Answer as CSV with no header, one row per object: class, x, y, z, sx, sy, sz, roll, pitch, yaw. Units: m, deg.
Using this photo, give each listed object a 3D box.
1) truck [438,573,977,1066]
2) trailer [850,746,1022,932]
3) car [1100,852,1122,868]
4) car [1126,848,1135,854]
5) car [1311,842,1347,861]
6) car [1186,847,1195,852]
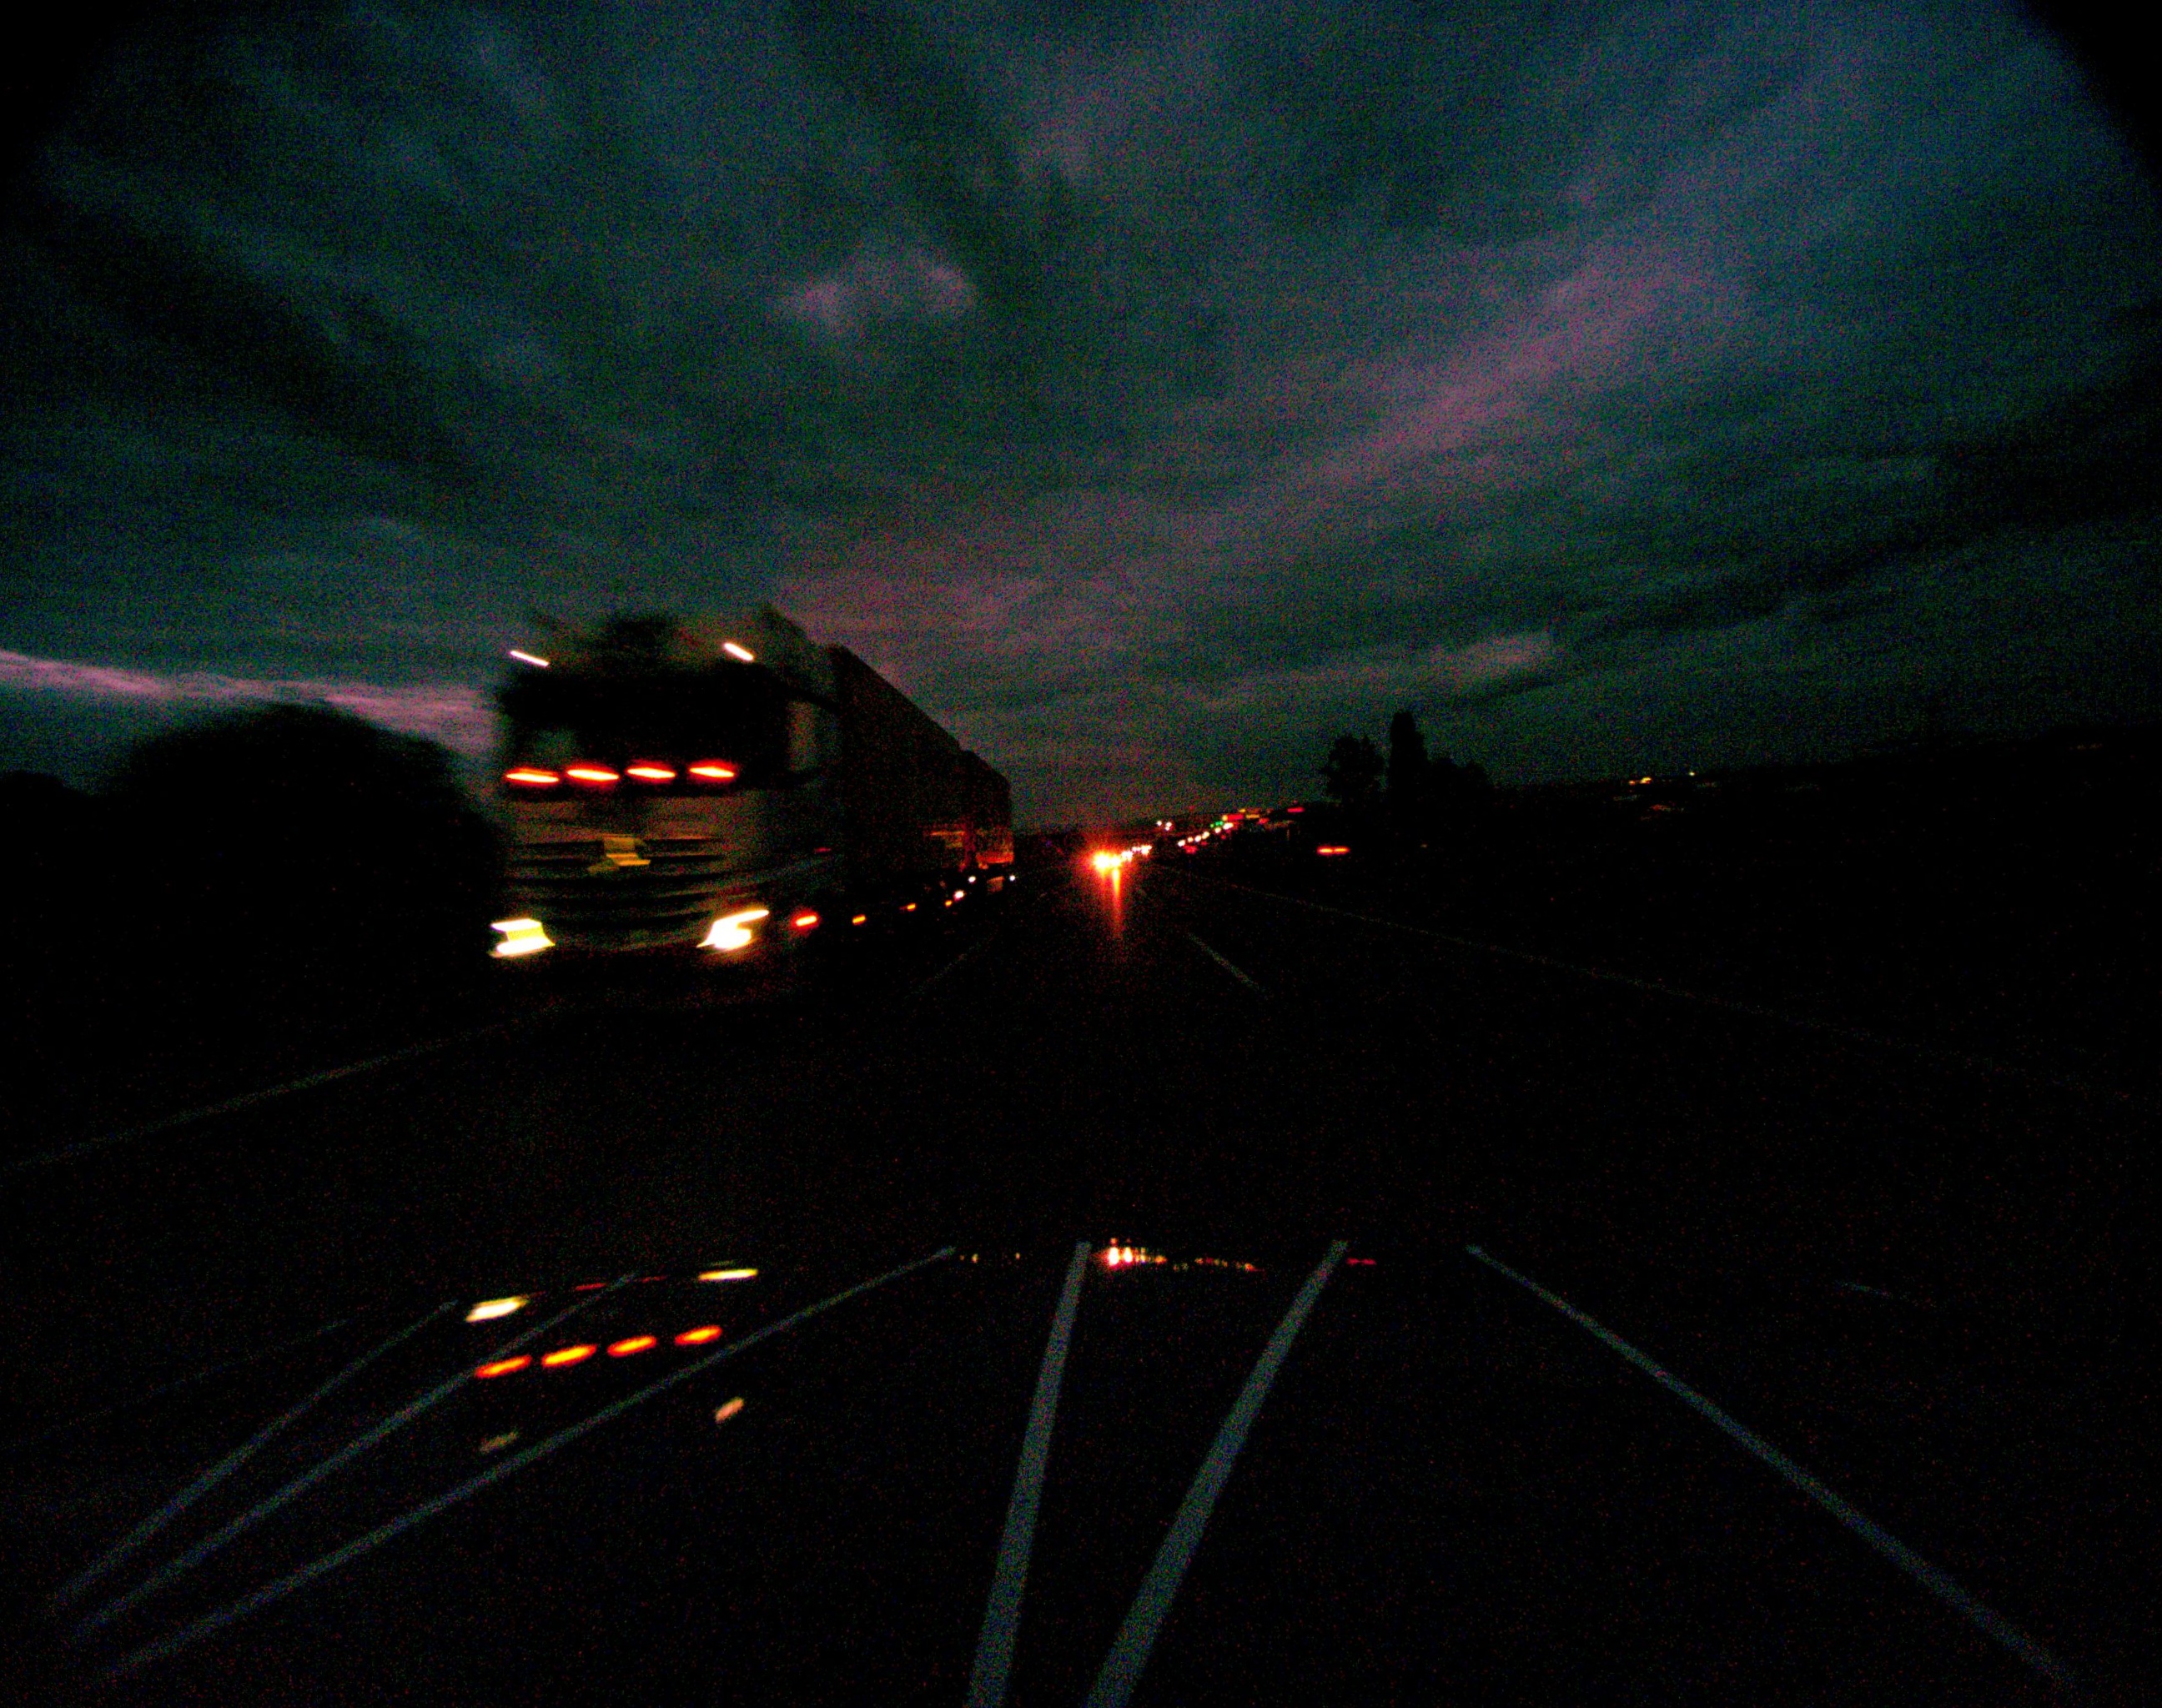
truck,-3.852,-0.299,11.635,2.697,4.047,10.520,-2,0,1
trailer,-3.570,-0.354,21.357,2.728,4.047,8.831,-2,0,2
car,2.937,0.562,74.101,1.998,1.342,4.174,0,2,3
car,12.713,-0.754,195.094,1.998,1.342,4.176,-5,1,6
car,22.581,-0.275,69.444,1.998,1.615,4.845,-2,0,4
car,33.568,-1.385,233.029,1.998,1.395,4.798,-1,0,1
